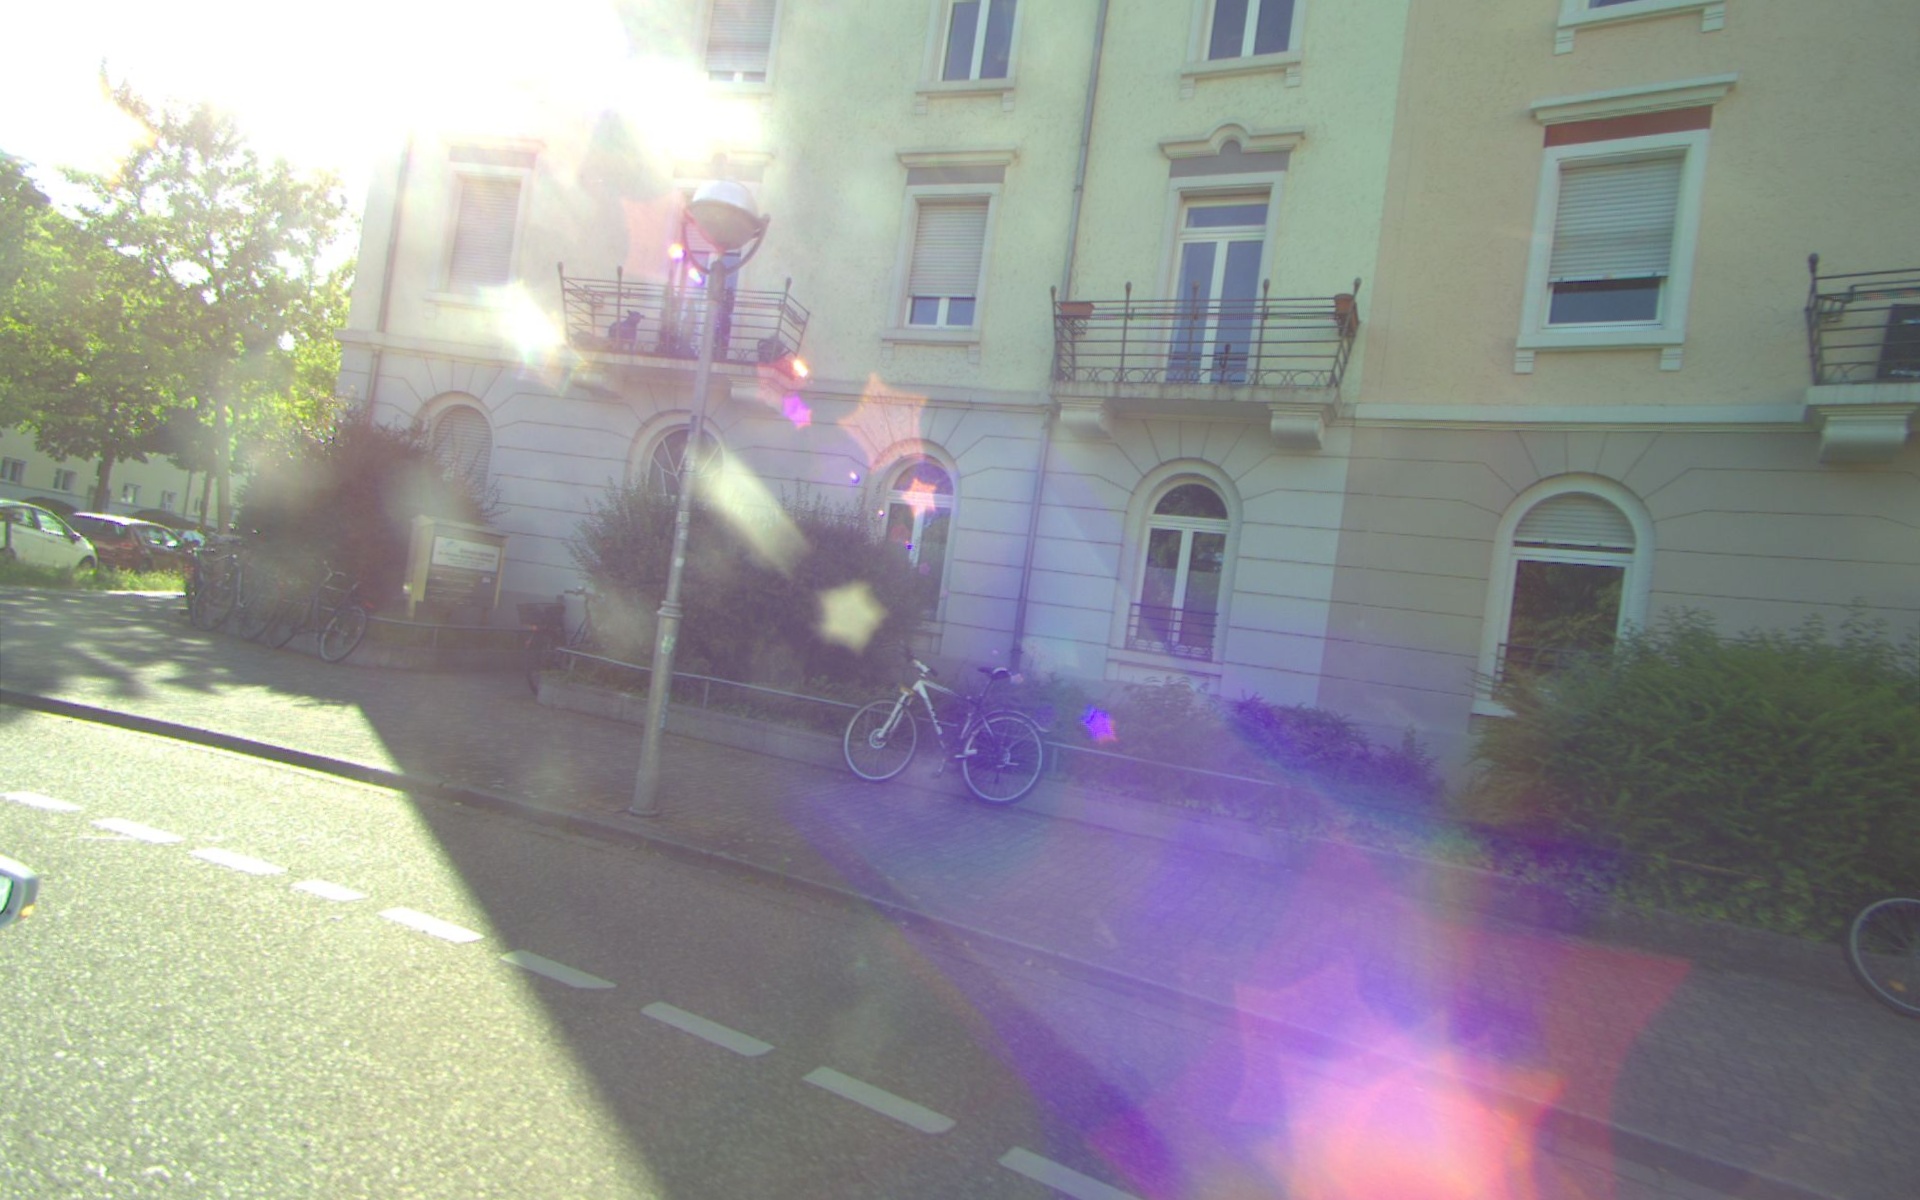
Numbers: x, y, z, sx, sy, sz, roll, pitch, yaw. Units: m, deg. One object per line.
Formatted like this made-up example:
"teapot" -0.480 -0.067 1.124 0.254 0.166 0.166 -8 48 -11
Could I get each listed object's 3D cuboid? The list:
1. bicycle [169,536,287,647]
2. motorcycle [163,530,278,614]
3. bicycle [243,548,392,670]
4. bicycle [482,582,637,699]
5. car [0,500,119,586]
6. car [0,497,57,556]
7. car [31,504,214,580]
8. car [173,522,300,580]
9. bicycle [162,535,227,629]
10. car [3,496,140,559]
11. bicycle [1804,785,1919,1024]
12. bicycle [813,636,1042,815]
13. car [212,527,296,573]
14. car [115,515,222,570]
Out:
"bicycle" -8.832 -0.124 12.112 1.771 1.121 0.499 7 0 35
"motorcycle" -11.851 -0.426 16.189 0.874 1.206 1.487 6 -1 -13
"bicycle" -7.180 0.088 11.214 1.769 1.121 0.500 7 0 29
"bicycle" -4.314 0.462 10.977 0.491 1.120 1.684 7 -1 18
"car" -18.045 -1.151 18.889 1.773 1.428 3.991 9 -2 -14
"car" -27.337 -2.176 27.897 1.774 1.527 3.986 8 -2 -18
"car" -19.237 -1.274 23.336 1.773 1.270 3.709 8 -2 -16
"car" -21.241 -1.397 29.710 1.773 1.270 3.709 8 -2 -16
"bicycle" -10.396 -0.275 13.701 0.496 1.121 1.932 8 -1 -35
"car" -29.006 -2.303 33.011 1.774 1.527 3.986 8 -2 -18
"bicycle" 5.439 1.657 5.056 1.656 1.101 0.502 7 0 26
"bicycle" -0.274 0.940 7.894 1.657 1.101 0.502 7 0 28
"car" -31.448 -2.170 44.943 1.774 1.593 3.987 8 -2 -18
"car" -30.194 -2.148 38.520 1.774 1.593 3.987 8 -2 -18
